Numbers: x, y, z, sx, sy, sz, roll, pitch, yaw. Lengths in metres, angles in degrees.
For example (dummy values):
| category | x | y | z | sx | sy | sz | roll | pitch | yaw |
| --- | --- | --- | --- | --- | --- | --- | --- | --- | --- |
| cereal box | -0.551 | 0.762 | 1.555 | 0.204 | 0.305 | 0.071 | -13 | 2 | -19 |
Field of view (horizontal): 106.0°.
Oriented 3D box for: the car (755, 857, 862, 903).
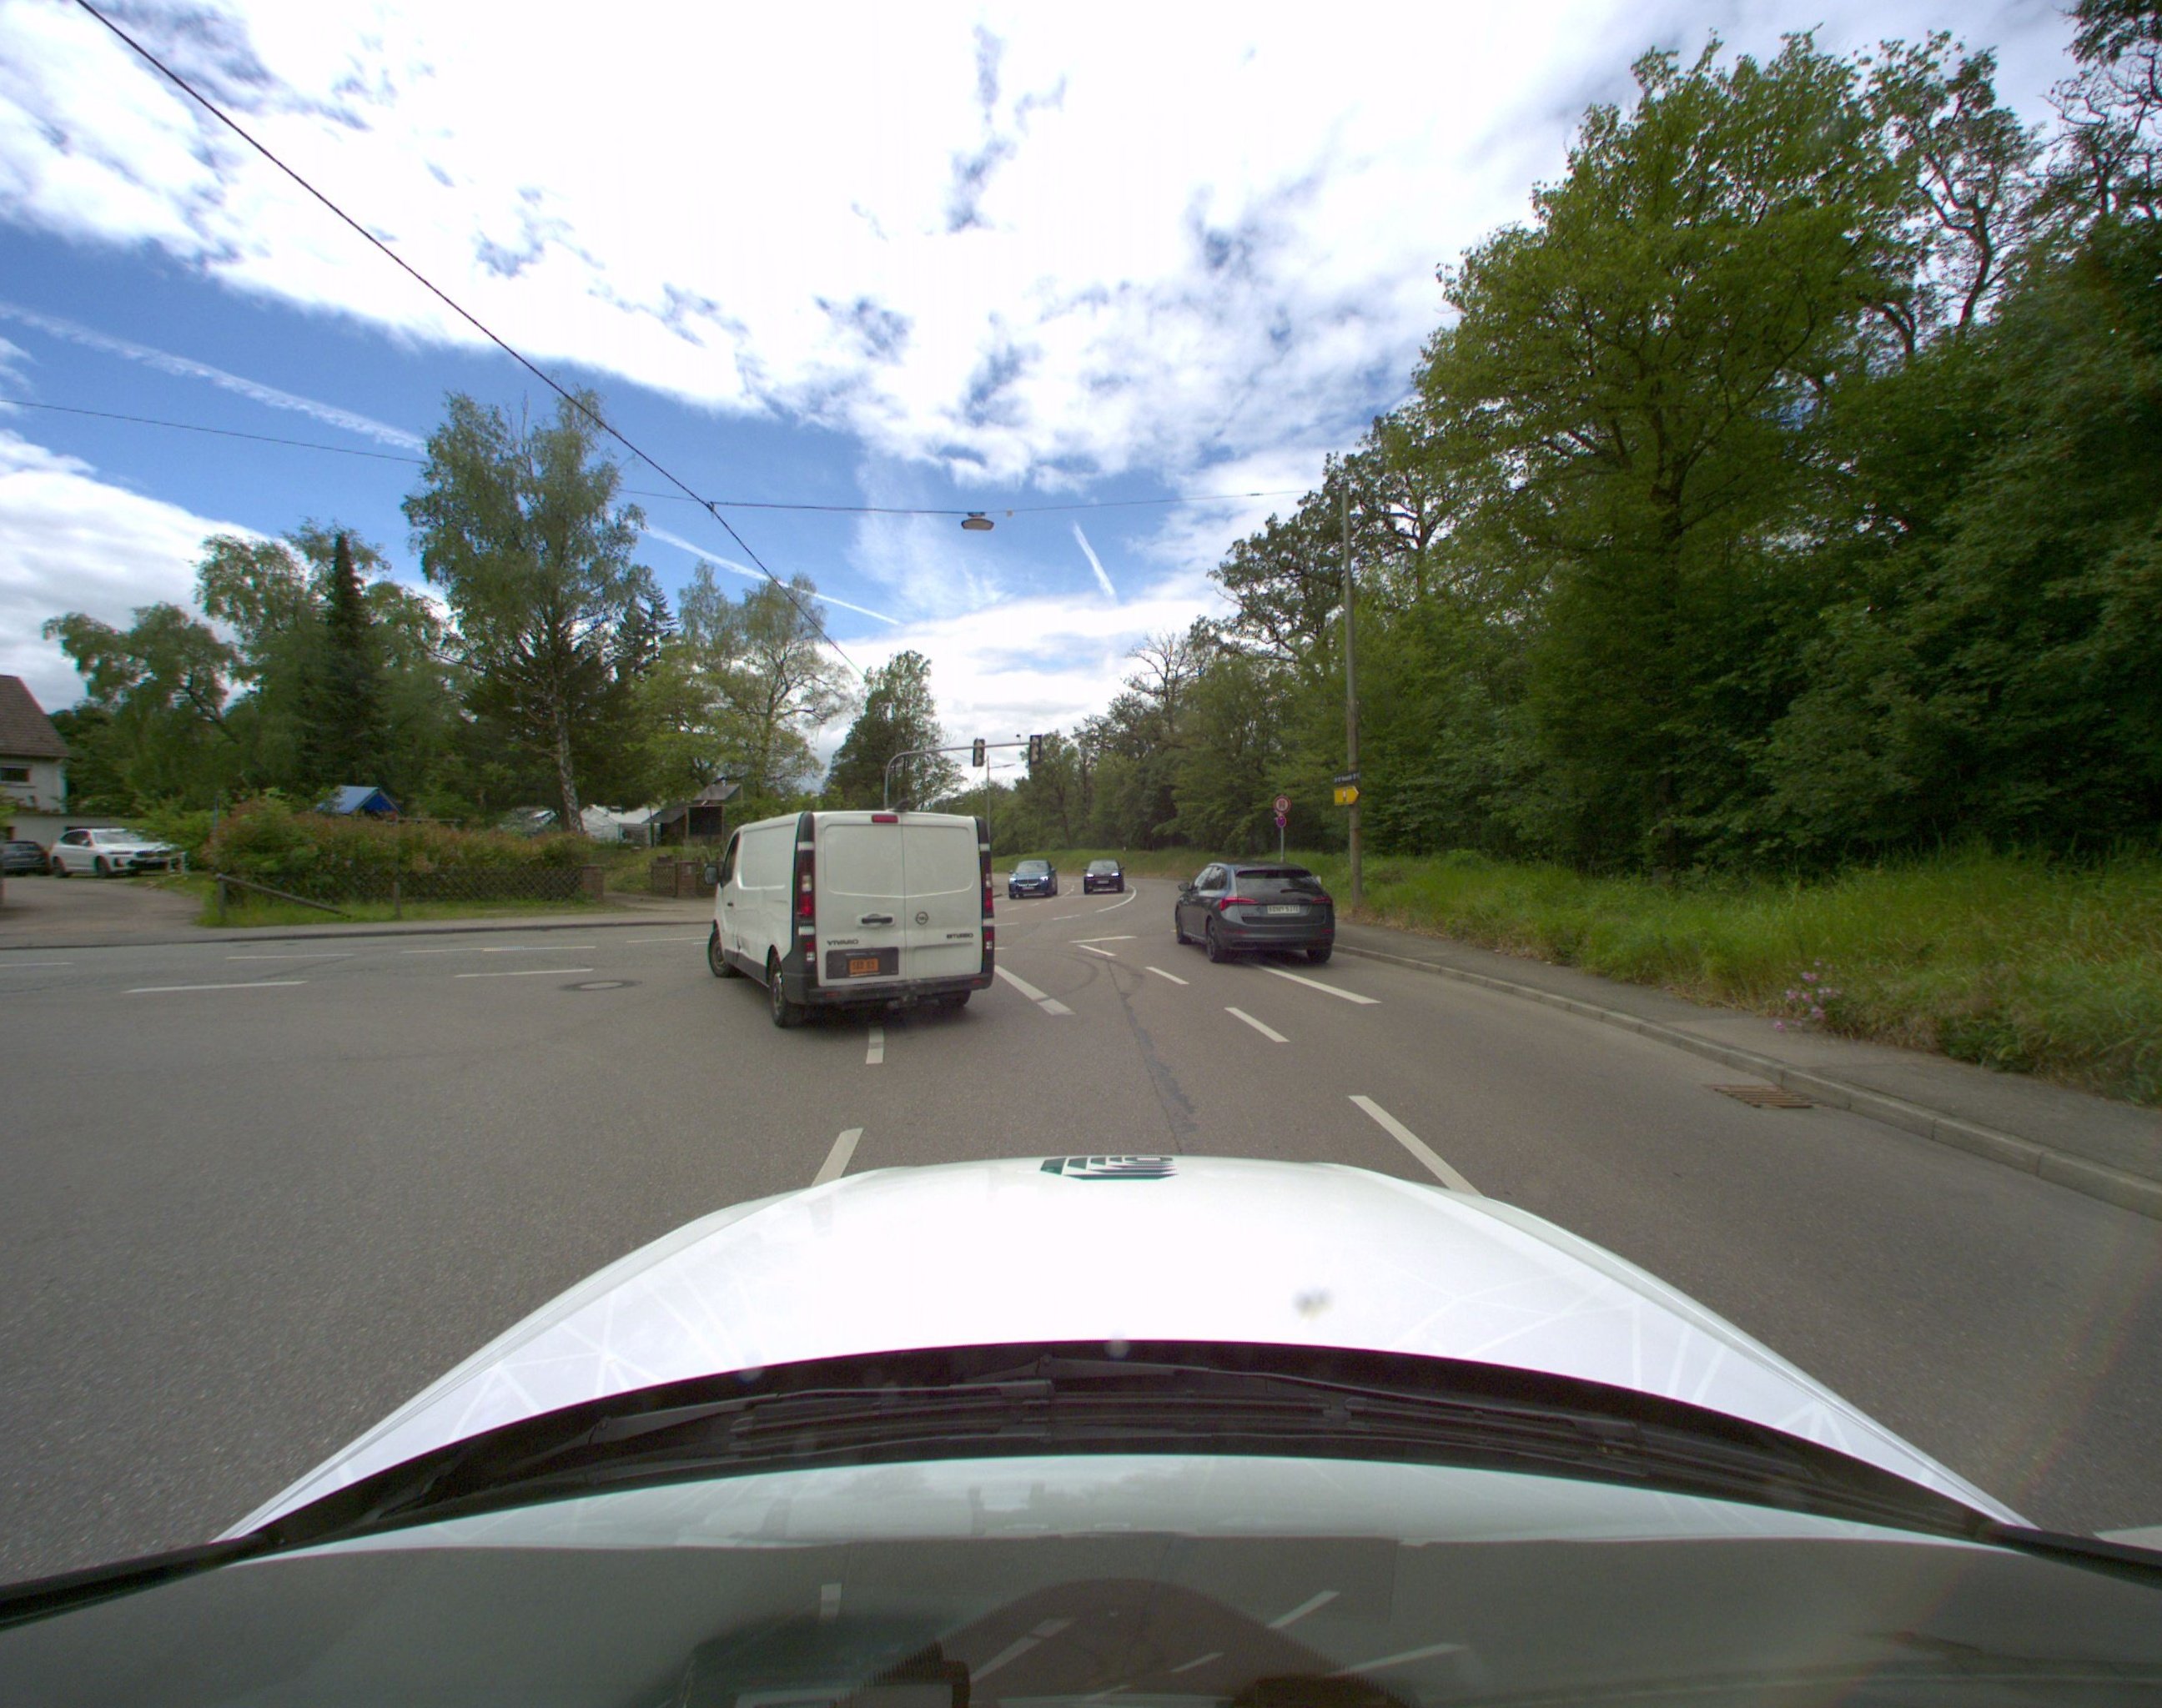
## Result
| category | x | y | z | sx | sy | sz | roll | pitch | yaw |
| --- | --- | --- | --- | --- | --- | --- | --- | --- | --- |
| car | -9.590 | 0.882 | 28.920 | 1.683 | 1.449 | 3.561 | 2 | 0 | 21 |

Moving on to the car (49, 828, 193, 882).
| category | x | y | z | sx | sy | sz | roll | pitch | yaw |
| --- | --- | --- | --- | --- | --- | --- | --- | --- | --- |
| car | -32.831 | 0.001 | 27.851 | 4.290 | 1.657 | 2.012 | 0 | 3 | 25 |

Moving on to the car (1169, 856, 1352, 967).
| category | x | y | z | sx | sy | sz | roll | pitch | yaw |
| --- | --- | --- | --- | --- | --- | --- | --- | --- | --- |
| car | 2.620 | 0.776 | 12.897 | 1.789 | 1.450 | 3.994 | 0 | 0 | -4 |

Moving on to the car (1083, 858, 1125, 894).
| category | x | y | z | sx | sy | sz | roll | pitch | yaw |
| --- | --- | --- | --- | --- | --- | --- | --- | --- | --- |
| car | 1.029 | 0.994 | 38.348 | 1.809 | 1.507 | 4.000 | -2 | 0 | 0 |

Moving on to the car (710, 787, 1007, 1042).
| category | x | y | z | sx | sy | sz | roll | pitch | yaw |
| --- | --- | --- | --- | --- | --- | --- | --- | --- | --- |
| car | -2.728 | 0.486 | 9.034 | 1.929 | 2.053 | 4.567 | -1 | 0 | -32 |

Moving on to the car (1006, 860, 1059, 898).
| category | x | y | z | sx | sy | sz | roll | pitch | yaw |
| --- | --- | --- | --- | --- | --- | --- | --- | --- | --- |
| car | -2.080 | 1.058 | 36.011 | 1.849 | 1.507 | 4.003 | -2 | 0 | 2 |

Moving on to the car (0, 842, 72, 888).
| category | x | y | z | sx | sy | sz | roll | pitch | yaw |
| --- | --- | --- | --- | --- | --- | --- | --- | --- | --- |
| car | -41.565 | 0.384 | 31.773 | 4.288 | 1.657 | 2.013 | 1 | 2 | 29 |
